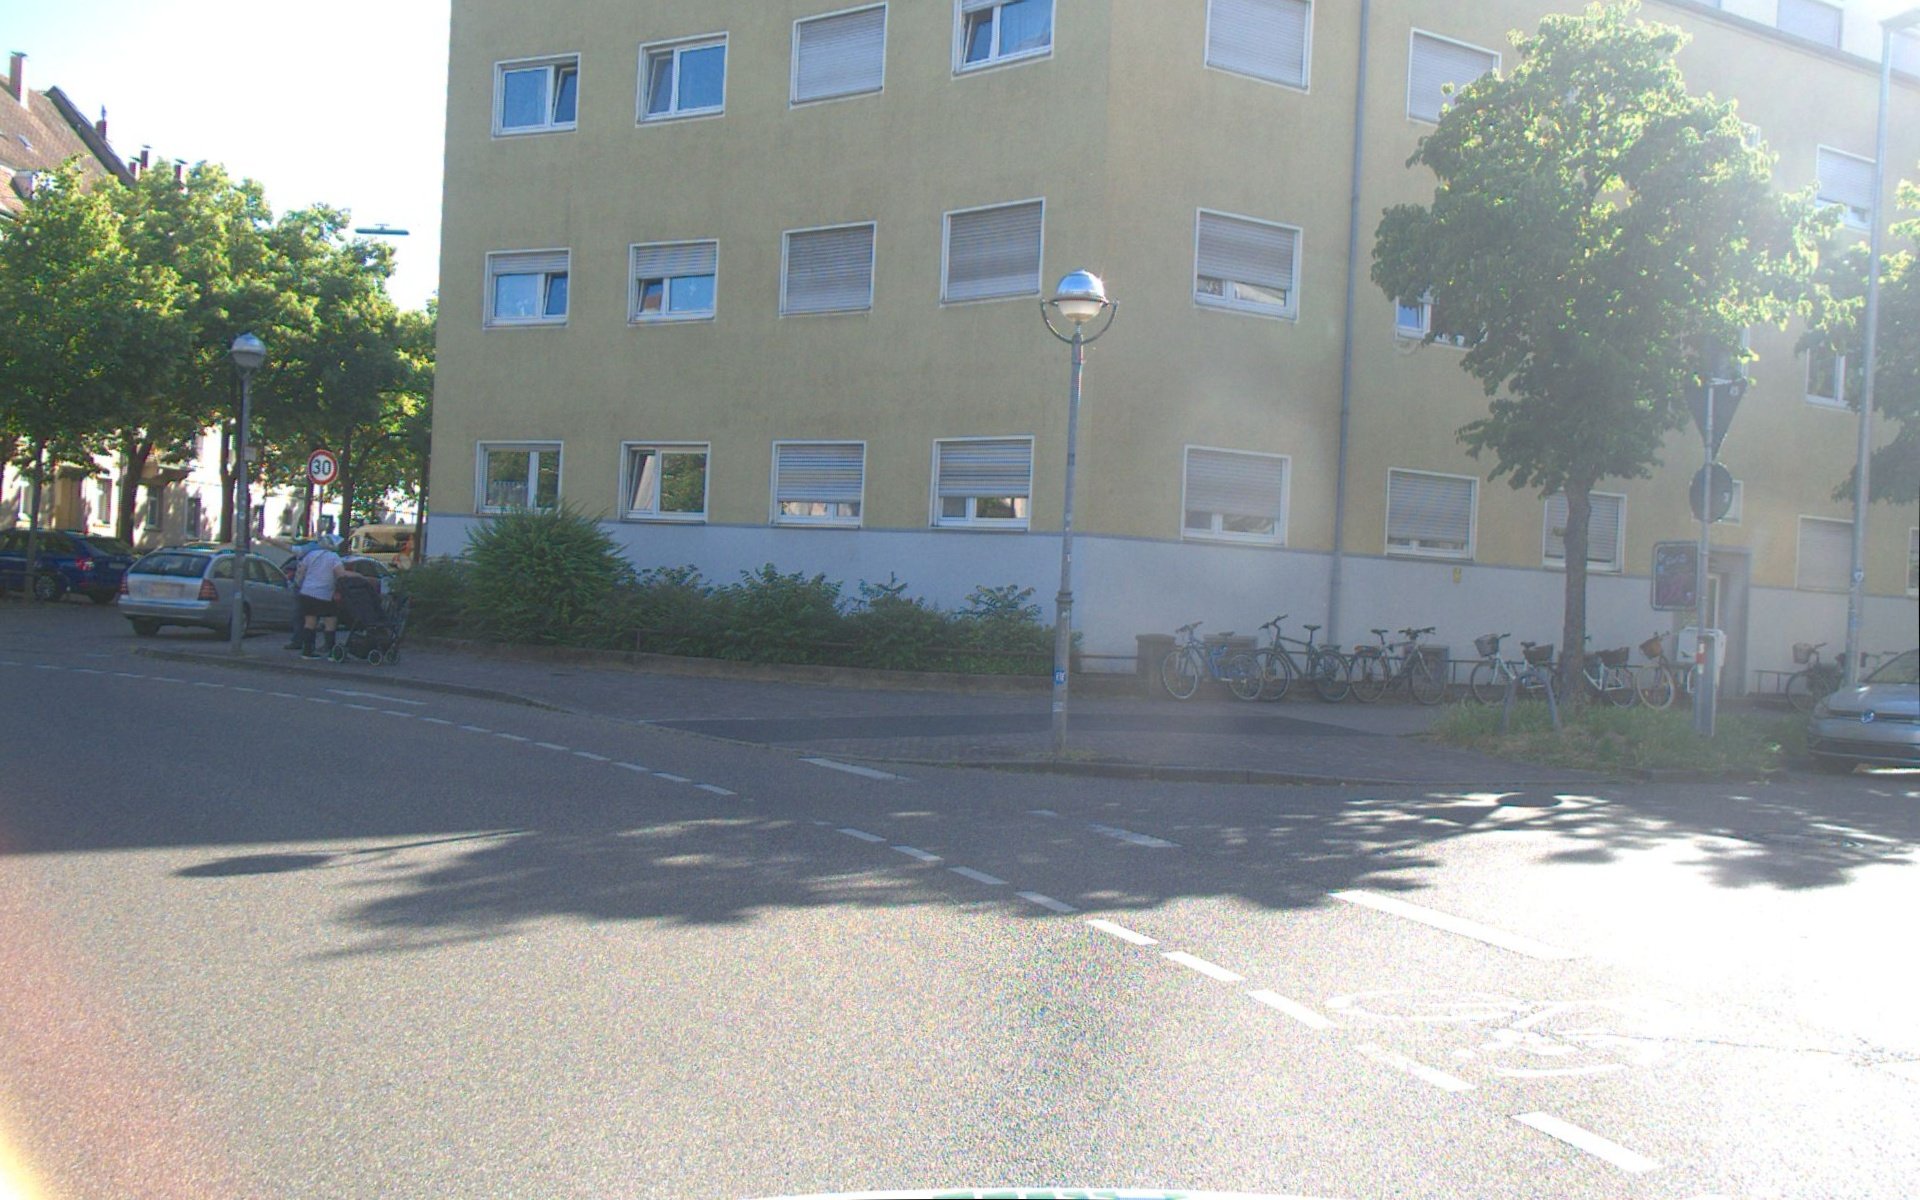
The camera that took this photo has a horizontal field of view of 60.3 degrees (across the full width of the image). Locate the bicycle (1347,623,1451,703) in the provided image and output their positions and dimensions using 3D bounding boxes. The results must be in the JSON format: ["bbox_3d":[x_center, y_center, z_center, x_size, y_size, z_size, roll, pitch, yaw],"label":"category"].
[{"bbox_3d":[5.997,0.864,22.573,1.430,1.044,0.495,2,0,-31],"label":"bicycle"}]

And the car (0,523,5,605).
[{"bbox_3d":[-20.395,-0.791,31.487,3.595,1.573,1.734,3,0,15],"label":"car"}]

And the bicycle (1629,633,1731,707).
[{"bbox_3d":[10.962,1.064,25.172,1.422,1.044,0.498,2,0,-18],"label":"bicycle"}]

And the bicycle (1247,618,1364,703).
[{"bbox_3d":[4.570,0.798,21.921,1.415,1.044,0.500,2,0,3],"label":"bicycle"}]

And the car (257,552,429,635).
[{"bbox_3d":[-12.273,-0.109,33.220,1.694,1.464,4.388,3,0,1],"label":"car"}]

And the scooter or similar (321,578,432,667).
[{"bbox_3d":[-7.129,0.261,20.230,0.896,1.041,0.899,1,1,21],"label":"scooter or similar"}]

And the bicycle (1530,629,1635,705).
[{"bbox_3d":[9.196,0.991,24.441,1.422,1.044,0.498,2,0,-18],"label":"bicycle"}]

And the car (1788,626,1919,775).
[{"bbox_3d":[10.946,1.095,17.886,3.949,1.436,1.784,3,0,-33],"label":"car"}]

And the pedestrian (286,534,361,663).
[{"bbox_3d":[-7.842,-0.021,20.390,0.635,1.550,0.697,1,0,1],"label":"pedestrian"}]

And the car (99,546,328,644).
[{"bbox_3d":[-12.401,-0.079,27.827,1.691,1.436,4.490,3,0,1],"label":"car"}]

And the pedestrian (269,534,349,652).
[{"bbox_3d":[-8.746,-0.092,22.246,0.807,1.550,0.697,1,0,-3],"label":"pedestrian"}]

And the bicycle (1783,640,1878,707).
[{"bbox_3d":[14.345,1.213,27.251,1.422,1.044,0.498,2,0,-18],"label":"bicycle"}]

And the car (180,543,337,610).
[{"bbox_3d":[-19.581,-0.653,46.218,3.595,1.665,1.734,3,0,10],"label":"car"}]

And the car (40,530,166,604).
[{"bbox_3d":[-23.391,-0.916,45.096,3.929,1.832,1.722,2,0,42],"label":"car"}]

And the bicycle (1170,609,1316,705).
[{"bbox_3d":[3.621,0.724,21.245,1.757,1.127,0.500,3,0,3],"label":"bicycle"}]

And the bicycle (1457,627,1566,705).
[{"bbox_3d":[7.853,0.940,23.569,1.422,1.044,0.498,2,0,-18],"label":"bicycle"}]

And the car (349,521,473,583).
[{"bbox_3d":[-19.753,-1.735,59.445,4.116,2.022,2.165,3,0,36],"label":"car"}]

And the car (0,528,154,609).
[{"bbox_3d":[-19.368,-0.682,35.172,3.595,1.573,1.734,3,0,10],"label":"car"}]
